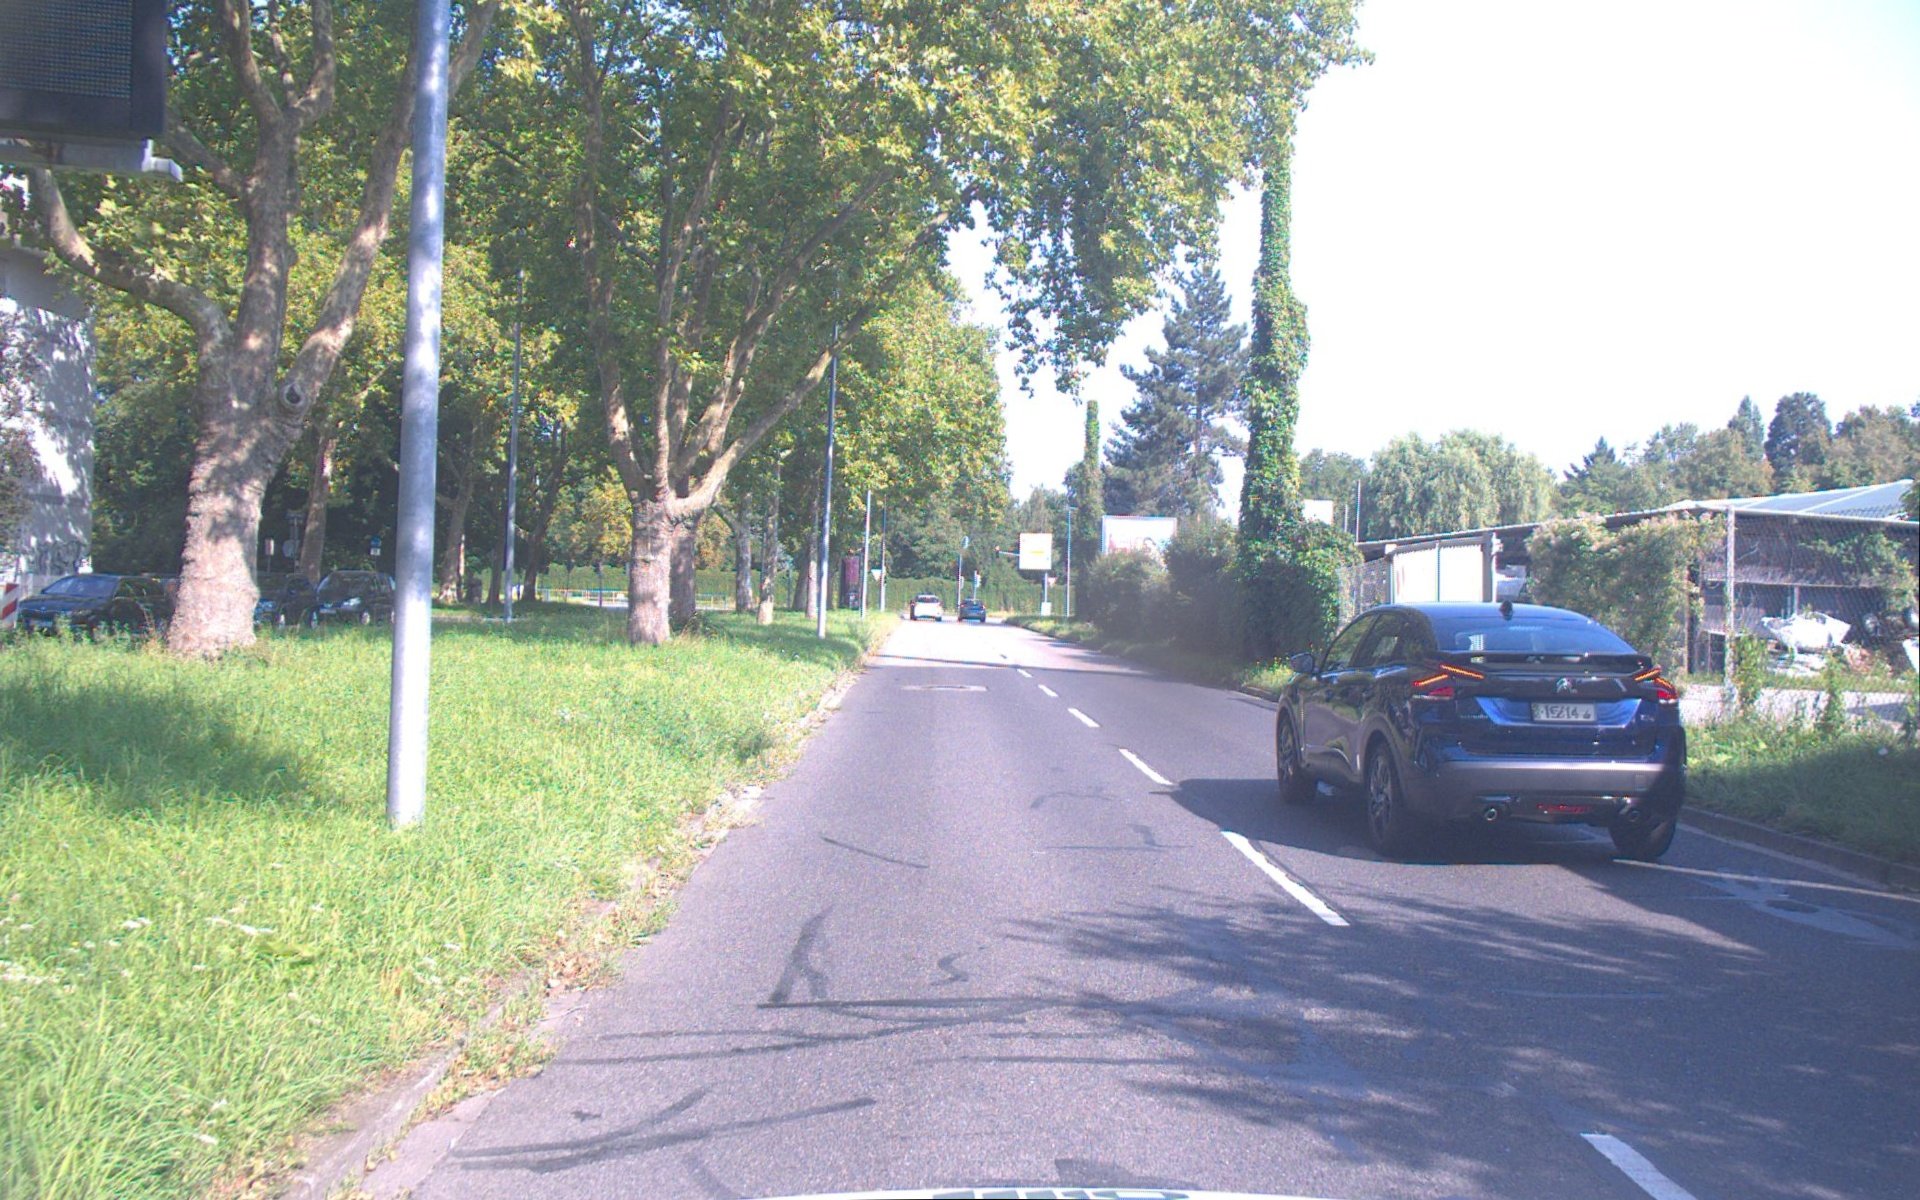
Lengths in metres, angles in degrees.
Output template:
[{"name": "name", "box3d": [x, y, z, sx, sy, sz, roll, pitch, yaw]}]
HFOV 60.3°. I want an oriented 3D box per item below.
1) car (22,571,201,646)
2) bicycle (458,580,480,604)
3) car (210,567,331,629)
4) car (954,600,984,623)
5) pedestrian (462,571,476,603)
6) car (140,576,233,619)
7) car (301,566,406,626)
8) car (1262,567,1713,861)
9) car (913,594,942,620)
[{"name": "car", "box3d": [-18.785, 0.177, 36.858, 1.665, 1.534, 4.540, 2, 0, -1]}, {"name": "bicycle", "box3d": [-26.410, -0.422, 88.958, 0.533, 1.220, 2.758, 2, 0, -5]}, {"name": "car", "box3d": [-19.009, -0.063, 45.777, 1.665, 1.595, 3.999, 2, 0, -1]}, {"name": "car", "box3d": [0.576, 0.729, 108.597, 1.761, 1.425, 3.998, 2, 0, -2]}, {"name": "pedestrian", "box3d": [-26.397, -0.683, 88.912, 0.532, 1.720, 0.657, 2, 0, -5]}, {"name": "car", "box3d": [-33.622, -0.103, 72.033, 1.661, 1.756, 4.390, 2, 0, 4]}, {"name": "car", "box3d": [-19.420, -0.117, 53.163, 1.665, 1.762, 4.658, 2, 0, -1]}, {"name": "car", "box3d": [3.334, 0.645, 11.345, 1.612, 1.616, 4.253, 1, 0, -2]}, {"name": "car", "box3d": [-1.963, 0.418, 99.773, 1.653, 1.487, 4.000, 2, 0, 0]}]
